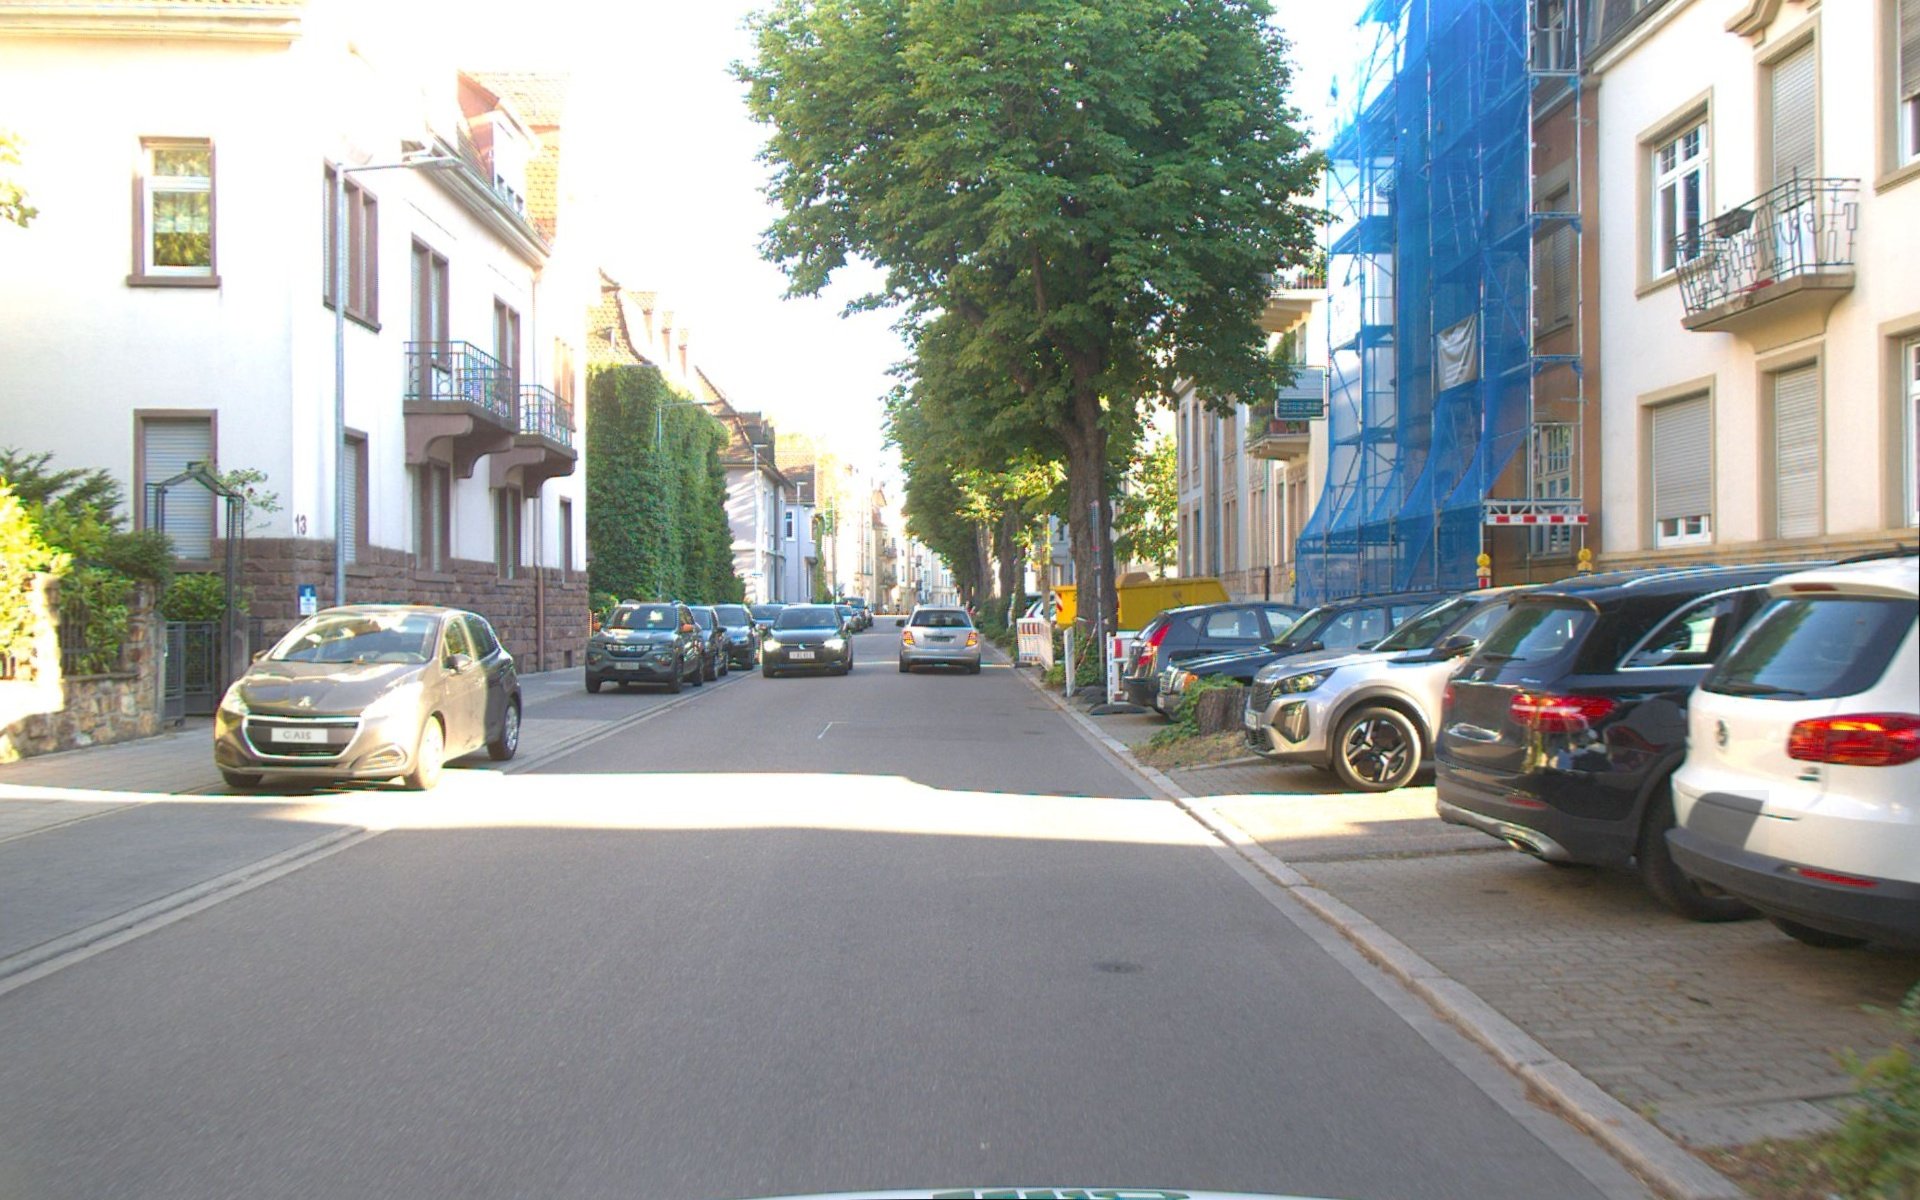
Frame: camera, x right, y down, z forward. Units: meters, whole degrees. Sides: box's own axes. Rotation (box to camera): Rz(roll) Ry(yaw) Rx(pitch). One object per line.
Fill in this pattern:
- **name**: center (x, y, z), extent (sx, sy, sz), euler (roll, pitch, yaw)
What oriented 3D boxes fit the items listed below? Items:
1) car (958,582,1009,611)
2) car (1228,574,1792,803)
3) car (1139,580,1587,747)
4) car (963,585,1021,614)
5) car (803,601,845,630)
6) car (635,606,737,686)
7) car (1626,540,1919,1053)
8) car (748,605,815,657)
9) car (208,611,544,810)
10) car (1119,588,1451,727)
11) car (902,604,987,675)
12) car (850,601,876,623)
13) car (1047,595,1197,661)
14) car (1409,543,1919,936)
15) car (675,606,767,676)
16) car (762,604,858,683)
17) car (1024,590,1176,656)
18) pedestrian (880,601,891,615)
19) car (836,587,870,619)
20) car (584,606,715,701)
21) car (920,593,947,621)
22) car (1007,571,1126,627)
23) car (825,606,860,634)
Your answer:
- **car**: center (2.036, -0.296, 143.437), extent (4.302, 2.405, 1.999), euler (-1, 0, -4)
- **car**: center (4.483, 0.686, 13.930), extent (4.072, 1.566, 1.850), euler (-3, 0, -2)
- **car**: center (4.504, 0.686, 18.981), extent (4.623, 1.562, 1.850), euler (-3, 0, -1)
- **car**: center (2.386, -0.057, 123.341), extent (4.136, 1.929, 1.904), euler (-3, 0, -3)
- **car**: center (-6.571, 0.745, 80.061), extent (1.619, 1.347, 4.046), euler (0, 0, 1)
- **car**: center (-5.461, 0.874, 33.339), extent (1.621, 1.472, 3.842), euler (0, 0, -3)
- **car**: center (4.884, 0.575, 6.417), extent (3.867, 1.712, 1.706), euler (-3, 1, 2)
- **car**: center (-5.328, 0.909, 49.820), extent (1.616, 1.445, 4.098), euler (0, 0, -1)
- **car**: center (-4.990, 0.860, 14.719), extent (1.620, 1.472, 4.004), euler (0, 0, -1)
- **car**: center (4.140, 0.713, 21.534), extent (3.905, 1.518, 1.851), euler (-3, 0, 0)
- **car**: center (-0.344, 0.830, 36.096), extent (1.747, 1.462, 3.850), euler (0, 0, -1)
- **car**: center (-6.828, 0.839, 116.469), extent (1.660, 1.472, 4.357), euler (0, 0, -1)
- **car**: center (4.230, 0.720, 43.519), extent (3.771, 1.487, 1.687), euler (-3, 0, 3)
- **car**: center (4.722, 0.583, 8.594), extent (4.244, 1.712, 1.705), euler (-3, 1, -2)
- **car**: center (-5.559, 0.910, 38.982), extent (1.757, 1.487, 4.774), euler (0, 0, -4)
- **car**: center (-3.131, 0.882, 35.160), extent (1.736, 1.474, 3.999), euler (-2, 1, -1)
- **car**: center (3.878, 0.626, 46.148), extent (4.059, 1.561, 1.687), euler (-3, 0, 1)
- **pedestrian**: center (-9.285, 1.035, 206.274), extent (1.195, 1.752, 1.503), euler (0, 0, 2)
- **car**: center (-6.790, 0.171, 105.363), extent (1.942, 1.981, 4.849), euler (0, 0, -2)
- **car**: center (-5.319, 0.876, 28.732), extent (1.620, 1.512, 3.763), euler (0, 0, -1)
- **car**: center (-1.611, 0.409, 101.602), extent (1.590, 1.597, 3.680), euler (-1, 0, 0)
- **car**: center (3.956, -0.049, 62.143), extent (4.227, 1.838, 1.999), euler (-3, 0, -2)
- **car**: center (-6.310, 1.065, 89.145), extent (1.620, 1.471, 3.959), euler (0, 0, 0)
